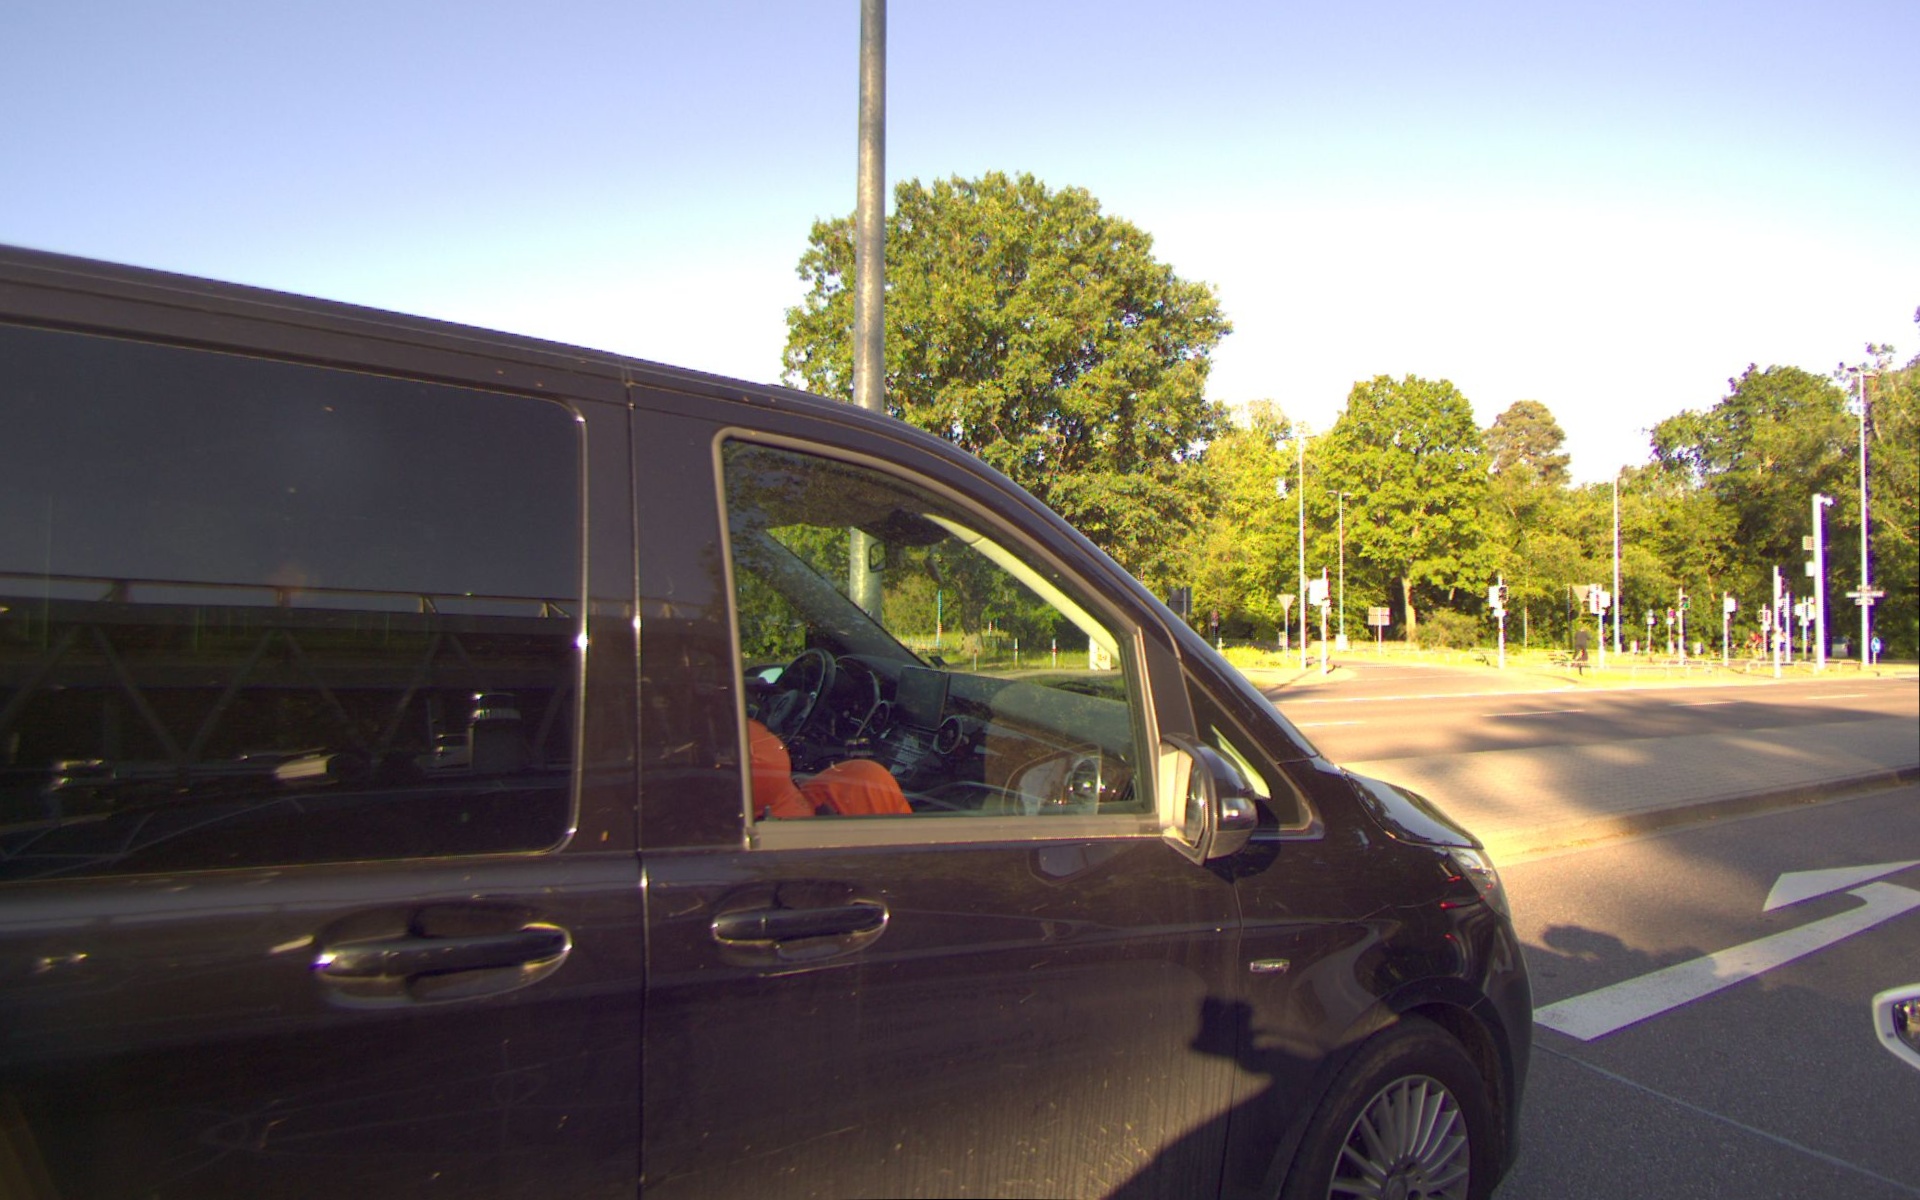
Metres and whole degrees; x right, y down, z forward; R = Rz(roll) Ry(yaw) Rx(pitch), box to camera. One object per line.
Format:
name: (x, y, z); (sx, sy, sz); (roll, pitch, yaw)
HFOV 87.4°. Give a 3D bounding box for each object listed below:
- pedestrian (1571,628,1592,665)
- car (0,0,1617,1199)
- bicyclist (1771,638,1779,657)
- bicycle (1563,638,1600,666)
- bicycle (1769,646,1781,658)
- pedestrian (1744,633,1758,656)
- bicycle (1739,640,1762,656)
pedestrian: (27.010, 2.036, 43.657); (0.641, 1.583, 0.479); (2, 0, -30)
car: (-1.013, 0.339, 1.897); (4.817, 1.881, 1.897); (-1, 1, -31)
bicyclist: (43.499, 2.524, 53.601); (0.238, 0.975, 0.271); (2, 0, -35)
bicycle: (27.022, 2.271, 43.656); (1.980, 1.193, 0.466); (2, 0, -31)
bicycle: (43.514, 2.779, 53.614); (0.831, 0.589, 0.264); (2, 0, -36)
pedestrian: (40.539, 2.283, 51.471); (0.375, 1.123, 0.442); (2, 0, -36)
bicycle: (40.529, 2.450, 51.474); (1.265, 0.810, 0.574); (2, 0, -35)
